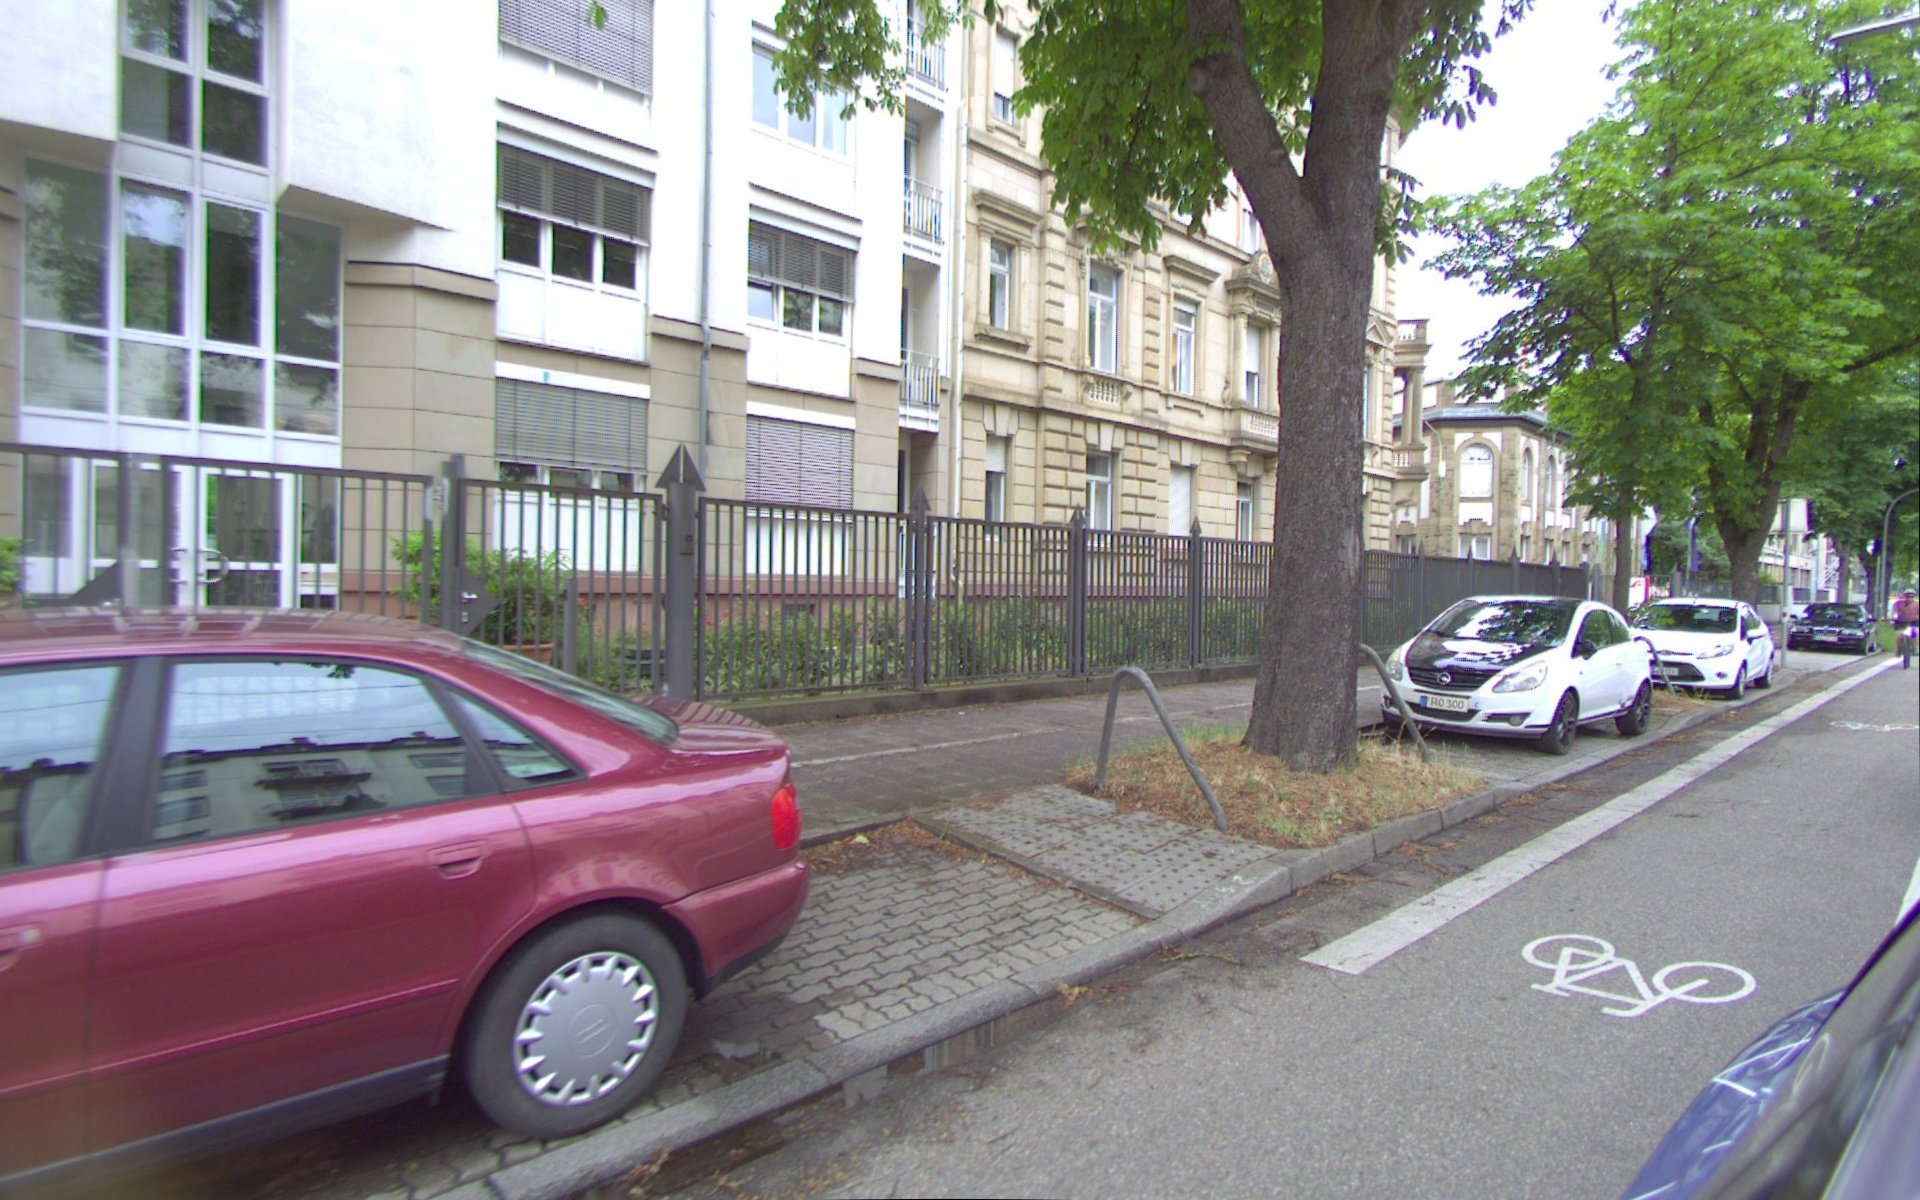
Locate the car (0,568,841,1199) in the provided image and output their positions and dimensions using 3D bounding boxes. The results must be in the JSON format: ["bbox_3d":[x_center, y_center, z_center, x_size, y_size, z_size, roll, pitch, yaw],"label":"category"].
[{"bbox_3d":[-2.466,0.658,2.492,4.156,1.416,1.604,0,3,-43],"label":"car"}]

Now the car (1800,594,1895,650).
[{"bbox_3d":[25.207,0.579,28.702,3.772,1.387,1.604,0,3,-43],"label":"car"}]

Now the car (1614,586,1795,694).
[{"bbox_3d":[11.980,0.554,16.212,3.701,1.453,1.630,0,3,-43],"label":"car"}]

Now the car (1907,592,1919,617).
[{"bbox_3d":[55.127,0.274,57.503,3.772,1.387,1.604,0,3,-43],"label":"car"}]

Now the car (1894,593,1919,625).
[{"bbox_3d":[46.429,0.445,48.904,3.772,1.442,1.604,0,3,-43],"label":"car"}]

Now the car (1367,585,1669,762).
[{"bbox_3d":[5.926,0.623,10.584,3.712,1.453,1.605,0,3,-42],"label":"car"}]

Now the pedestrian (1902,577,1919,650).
[{"bbox_3d":[21.152,0.295,22.169,0.692,1.569,0.683,0,1,-42],"label":"pedestrian"}]

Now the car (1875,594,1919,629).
[{"bbox_3d":[41.116,0.457,44.018,3.772,1.387,1.604,0,3,-43],"label":"car"}]

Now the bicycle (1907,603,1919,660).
[{"bbox_3d":[21.279,0.688,22.334,1.678,1.219,0.413,0,1,-43],"label":"bicycle"}]
